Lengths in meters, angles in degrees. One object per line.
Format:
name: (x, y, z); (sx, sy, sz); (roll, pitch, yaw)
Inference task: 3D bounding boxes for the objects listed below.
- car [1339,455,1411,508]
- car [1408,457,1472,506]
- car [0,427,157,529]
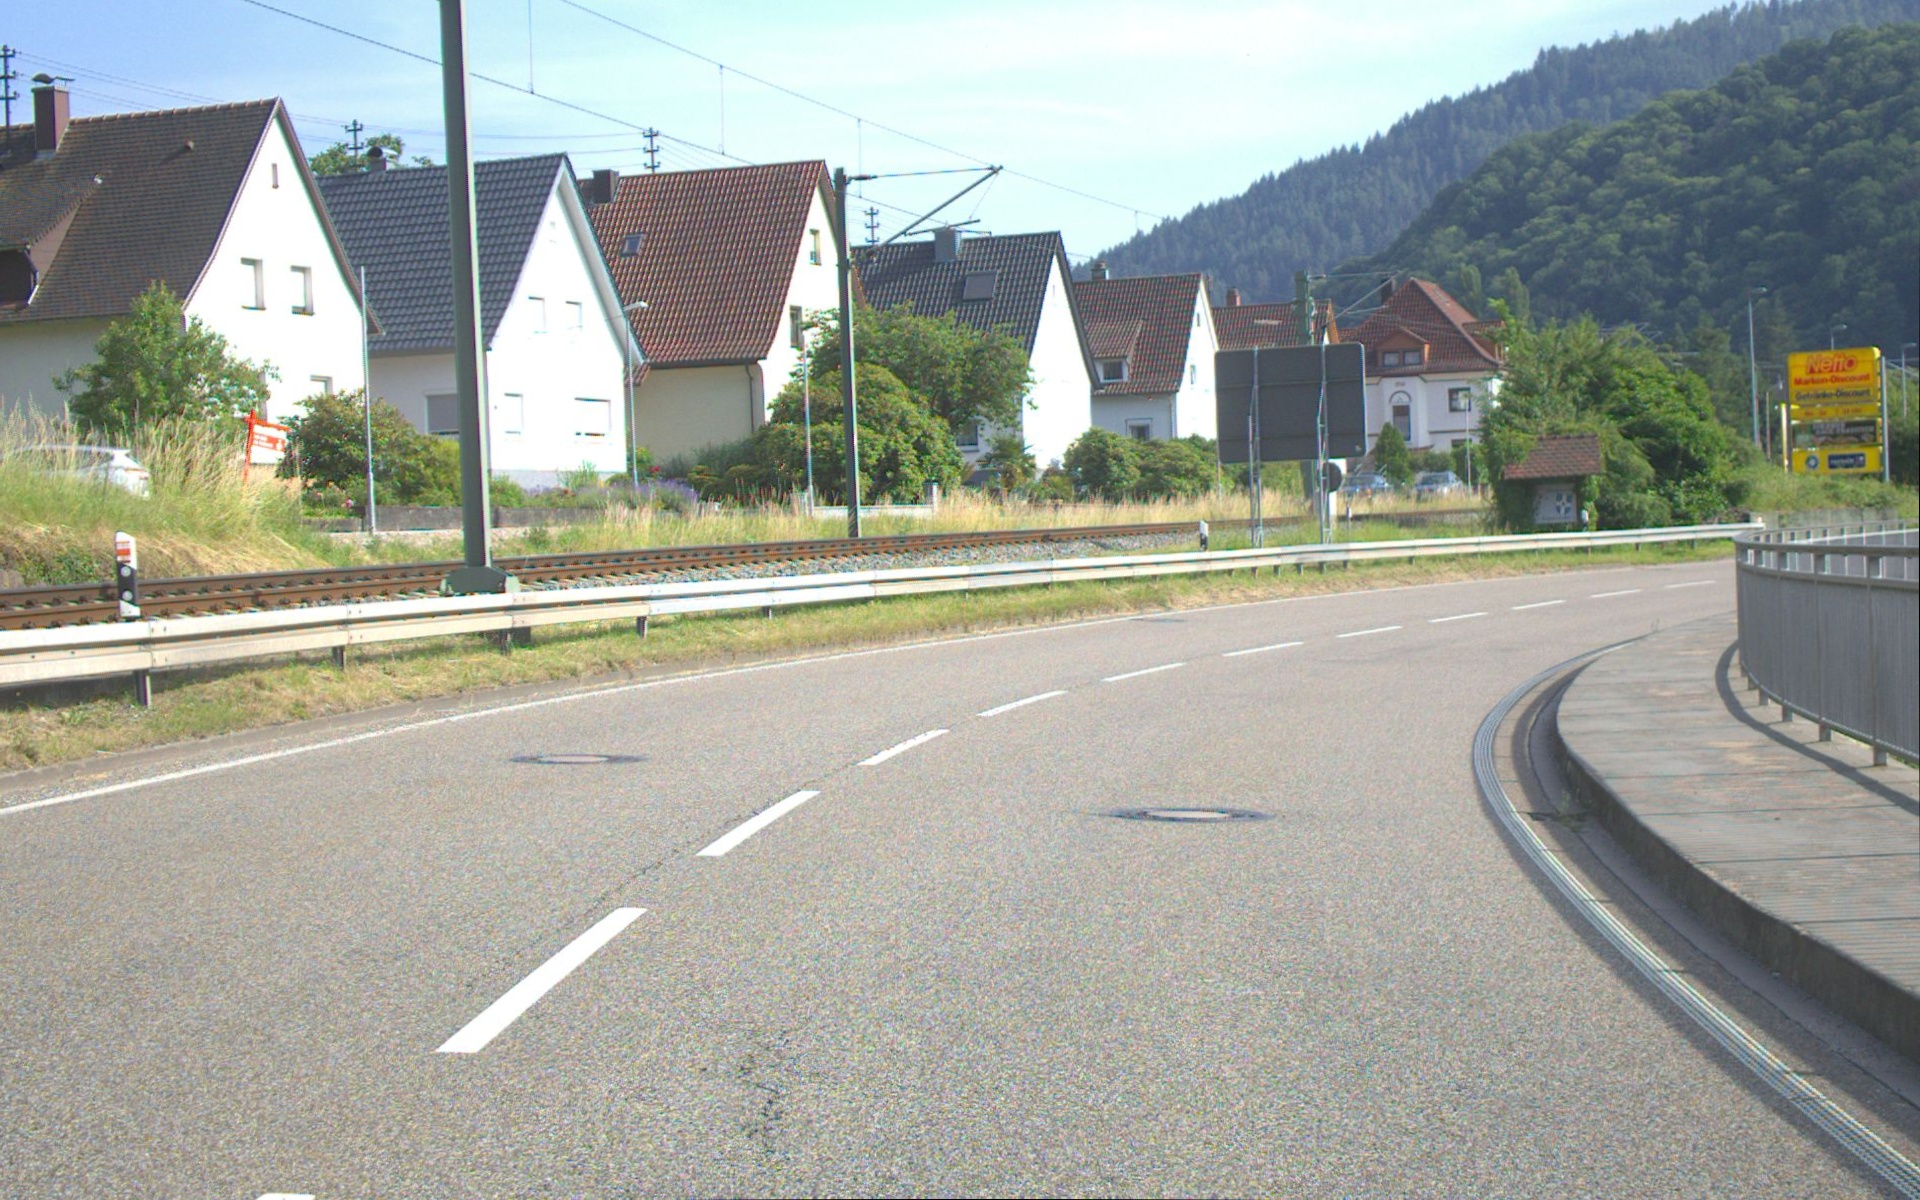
car: (16.581, -4.713, 137.292); (1.995, 1.875, 3.997); (6, 3, 17)
car: (20.983, -5.165, 150.255); (1.995, 1.875, 3.997); (6, 3, 17)
car: (-16.075, -2.127, 59.631); (4.012, 1.668, 1.650); (-1, 5, -19)
